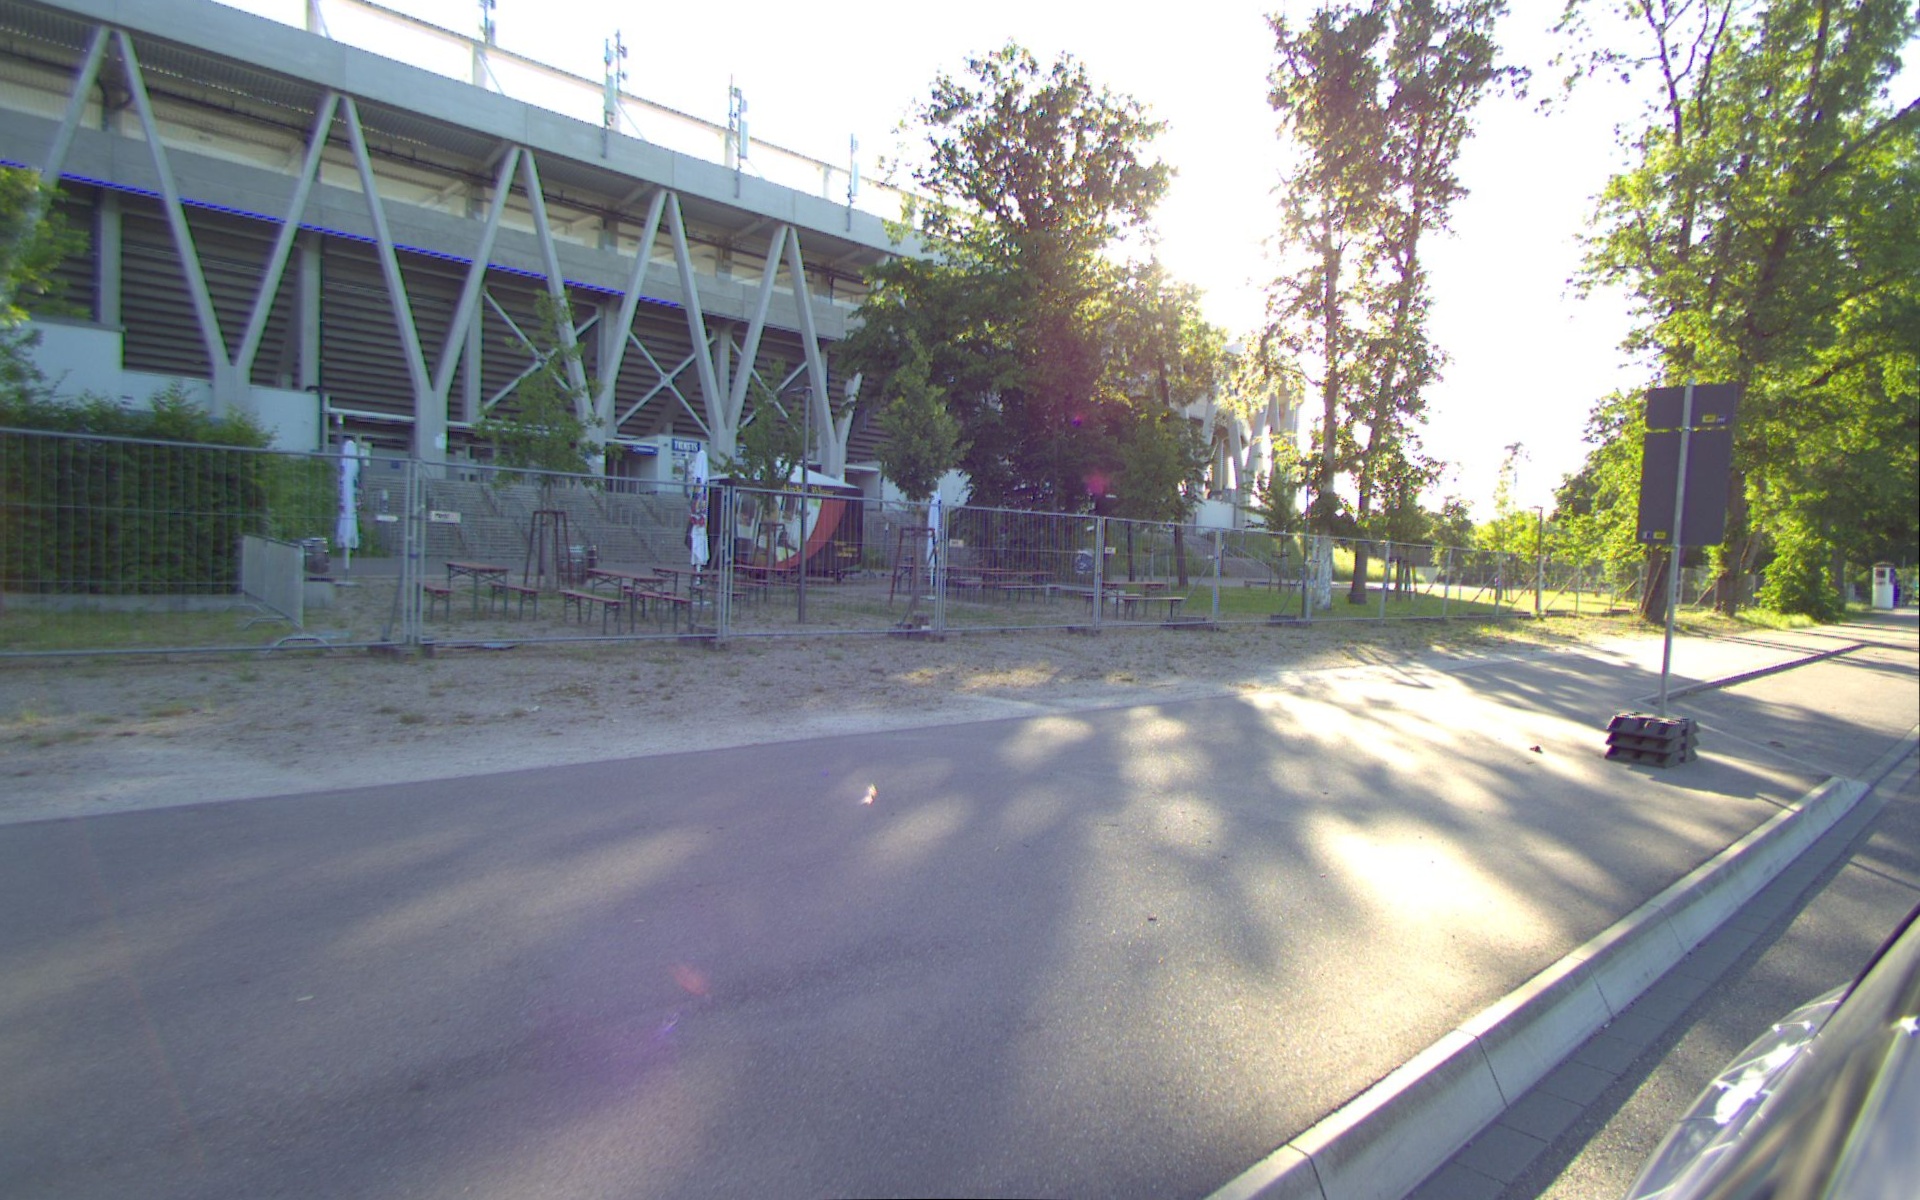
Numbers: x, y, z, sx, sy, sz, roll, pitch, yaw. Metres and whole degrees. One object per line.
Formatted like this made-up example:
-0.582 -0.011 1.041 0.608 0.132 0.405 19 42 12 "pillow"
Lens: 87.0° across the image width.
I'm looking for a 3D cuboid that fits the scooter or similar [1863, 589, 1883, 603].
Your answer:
85.294 -0.363 94.548 1.280 1.252 0.334 2 1 11 "scooter or similar"
